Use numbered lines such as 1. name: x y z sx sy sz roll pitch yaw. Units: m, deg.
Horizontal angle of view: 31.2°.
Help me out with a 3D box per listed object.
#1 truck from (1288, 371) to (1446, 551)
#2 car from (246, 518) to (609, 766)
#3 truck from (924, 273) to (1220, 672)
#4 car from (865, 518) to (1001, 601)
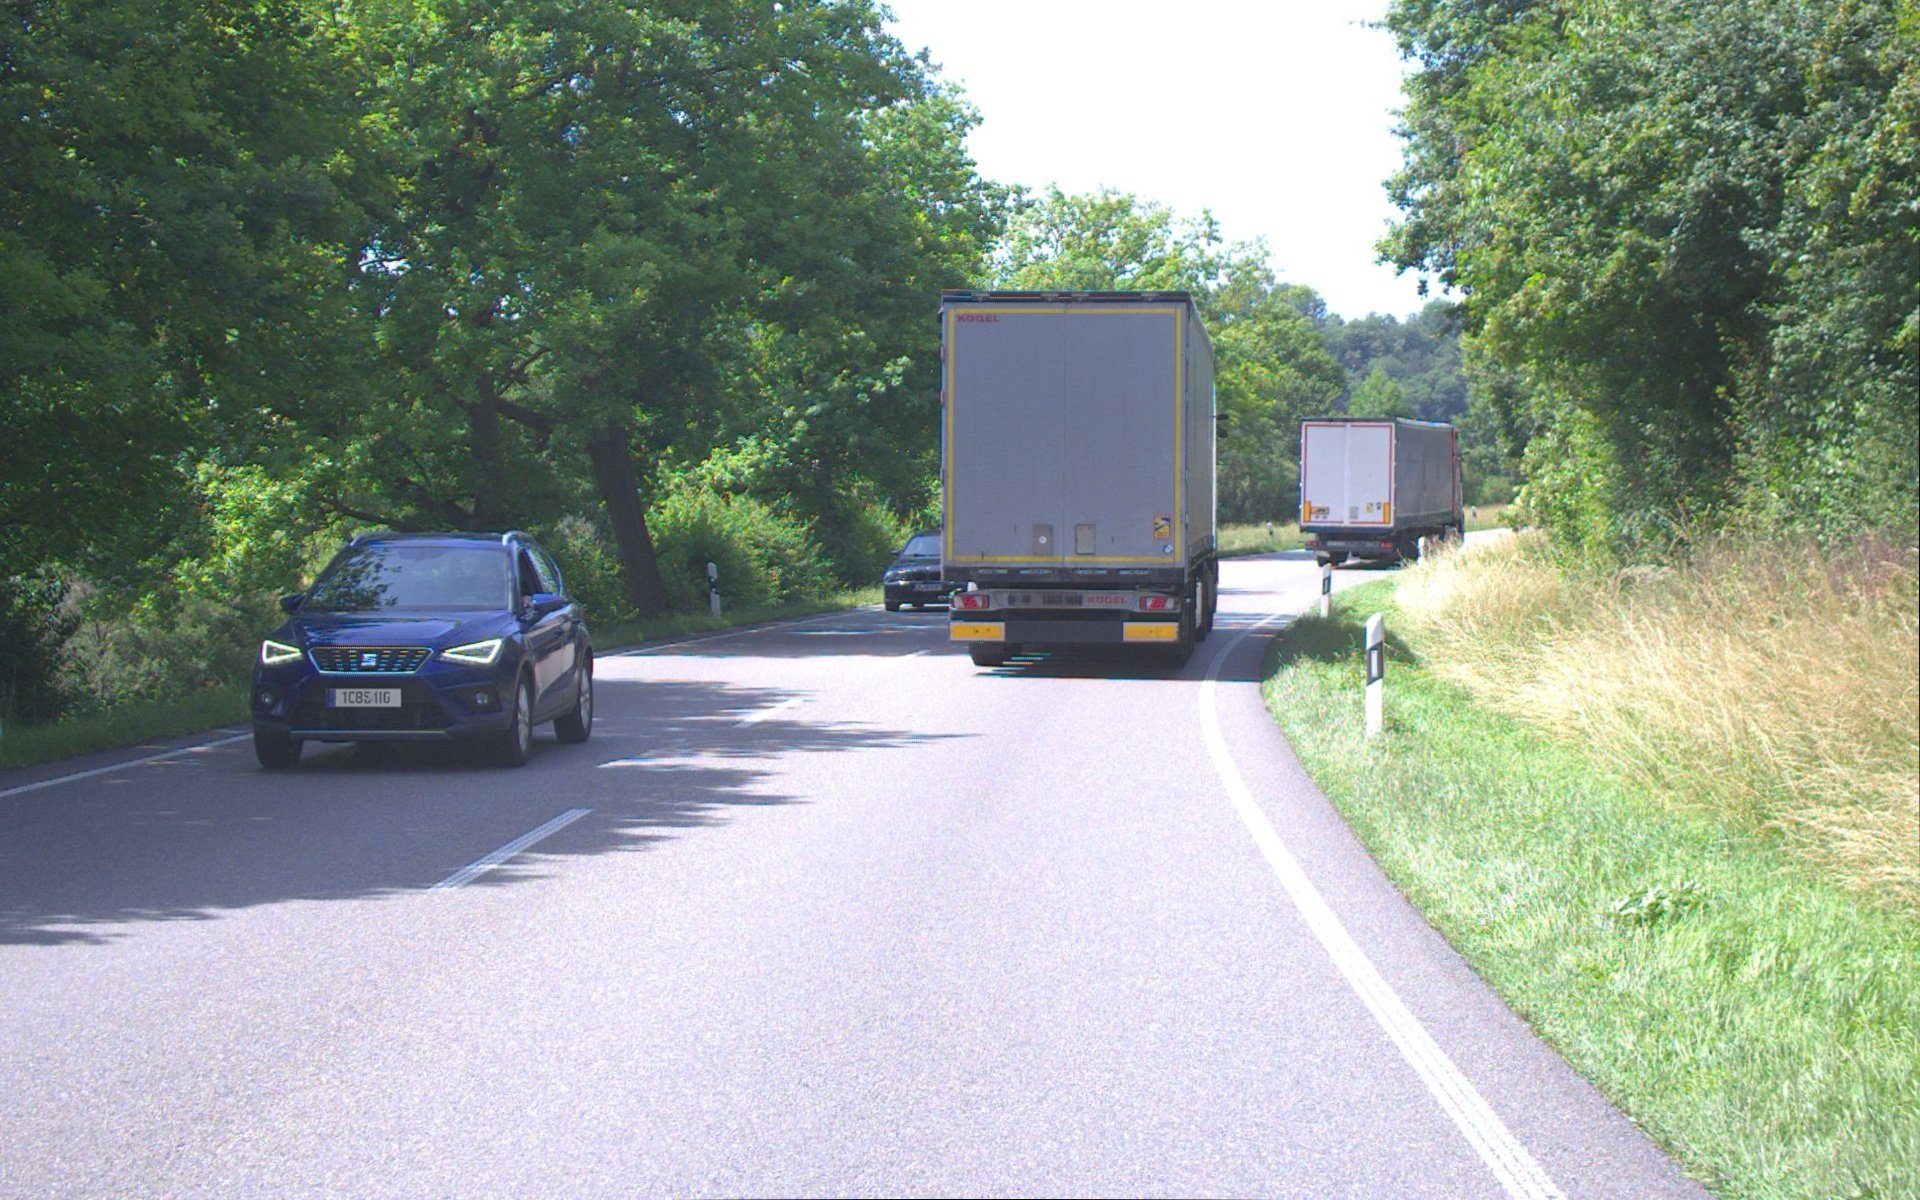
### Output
1. truck: 11.857 -3.957 98.732 3.106 4.689 16.582 -1 2 11
2. car: -3.530 0.226 23.456 1.670 1.526 3.958 -1 1 3
3. truck: 1.707 -1.569 42.638 2.802 4.054 15.324 0 2 5
4. car: -0.442 -0.746 61.320 1.759 1.427 4.268 0 1 9
